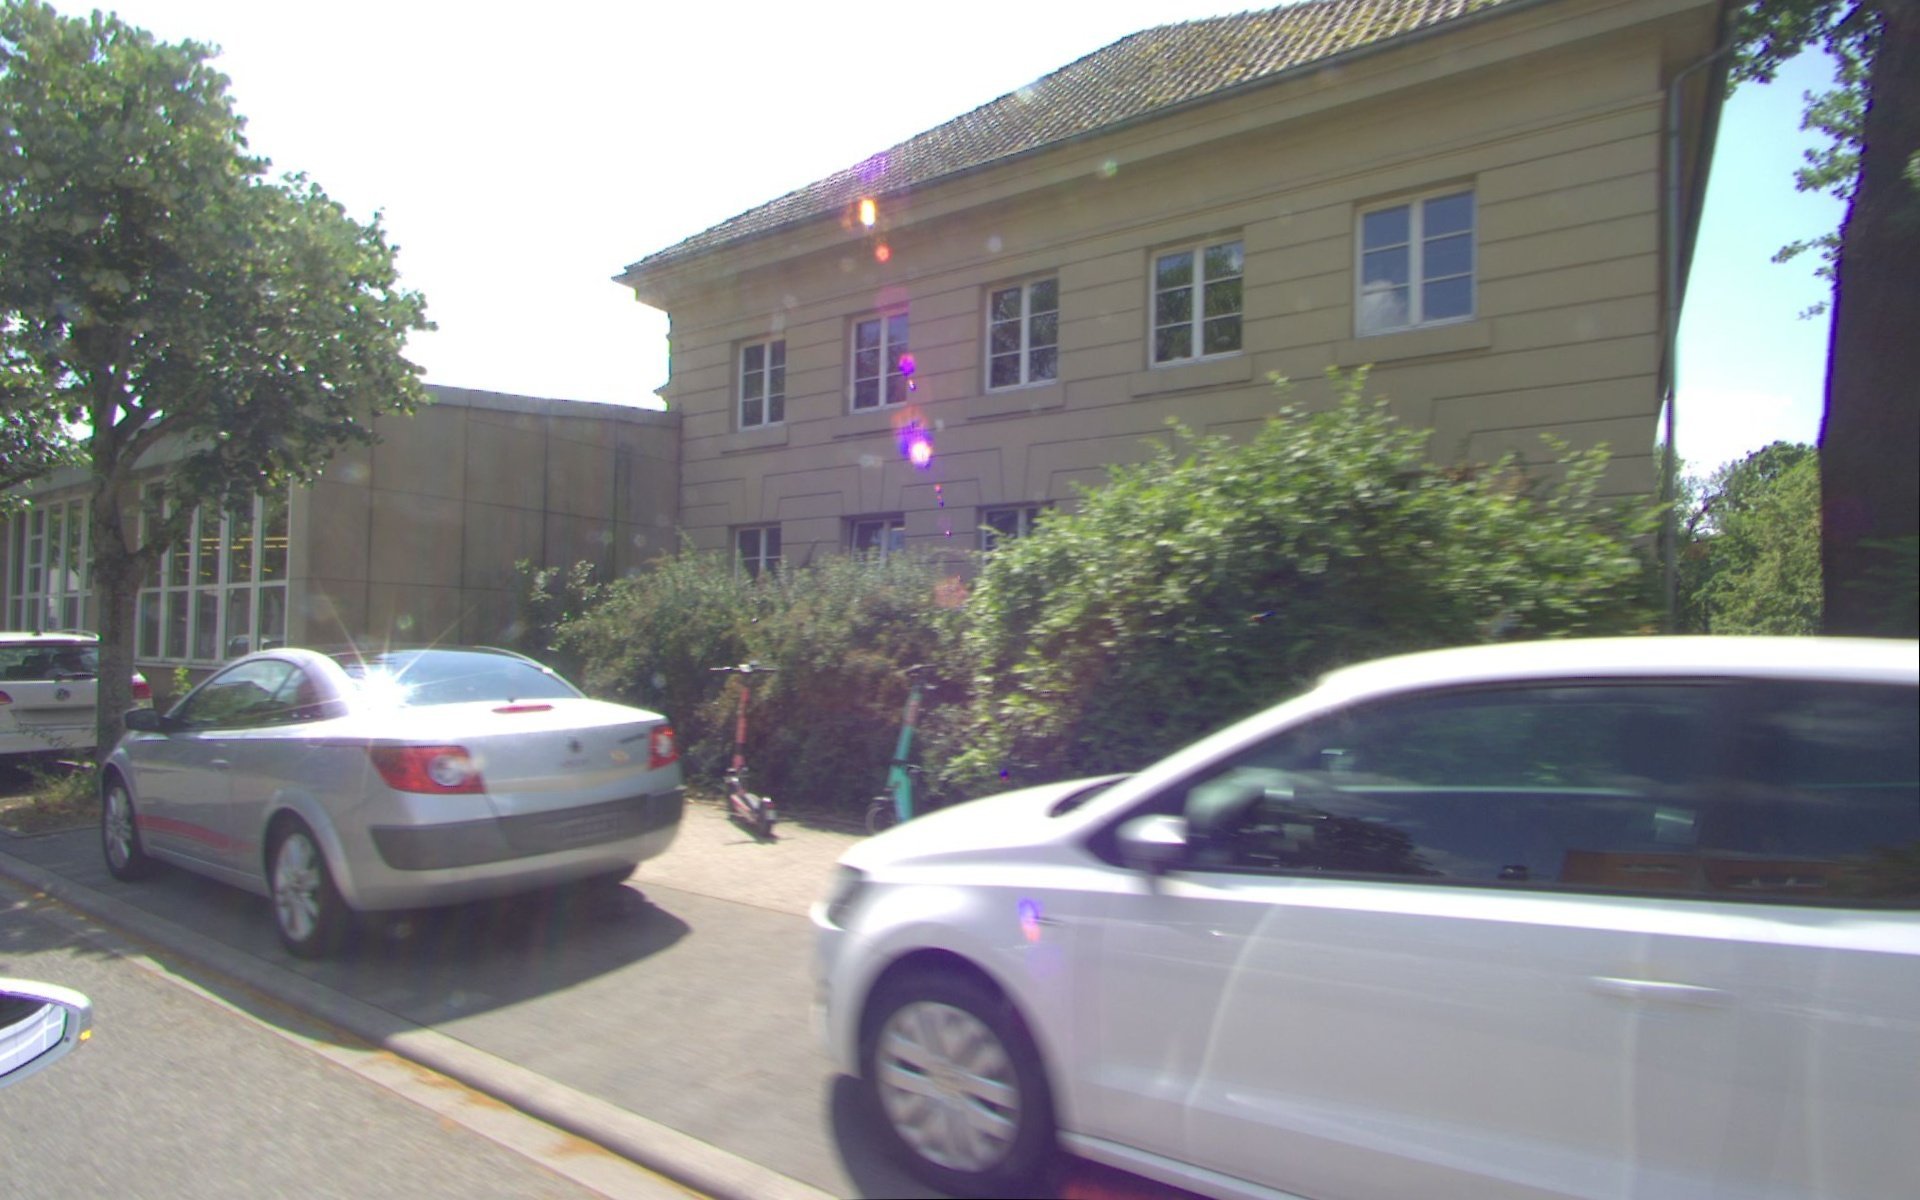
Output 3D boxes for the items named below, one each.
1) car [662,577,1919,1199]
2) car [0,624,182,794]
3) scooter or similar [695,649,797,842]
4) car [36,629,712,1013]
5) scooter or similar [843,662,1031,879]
[{"bbox_3d":[1.189,0.760,2.640,3.932,1.485,1.585,-1,-3,32],"label":"car"},{"bbox_3d":[-10.090,0.991,10.407,4.605,1.486,1.723,-1,-2,33],"label":"car"},{"bbox_3d":[-1.650,1.044,7.600,0.587,1.283,1.263,2,-1,-19],"label":"scooter or similar"},{"bbox_3d":[-3.411,0.909,5.627,3.931,1.408,1.644,0,-1,32],"label":"car"},{"bbox_3d":[-0.172,1.045,6.529,1.223,1.237,0.517,-1,-2,44],"label":"scooter or similar"}]
